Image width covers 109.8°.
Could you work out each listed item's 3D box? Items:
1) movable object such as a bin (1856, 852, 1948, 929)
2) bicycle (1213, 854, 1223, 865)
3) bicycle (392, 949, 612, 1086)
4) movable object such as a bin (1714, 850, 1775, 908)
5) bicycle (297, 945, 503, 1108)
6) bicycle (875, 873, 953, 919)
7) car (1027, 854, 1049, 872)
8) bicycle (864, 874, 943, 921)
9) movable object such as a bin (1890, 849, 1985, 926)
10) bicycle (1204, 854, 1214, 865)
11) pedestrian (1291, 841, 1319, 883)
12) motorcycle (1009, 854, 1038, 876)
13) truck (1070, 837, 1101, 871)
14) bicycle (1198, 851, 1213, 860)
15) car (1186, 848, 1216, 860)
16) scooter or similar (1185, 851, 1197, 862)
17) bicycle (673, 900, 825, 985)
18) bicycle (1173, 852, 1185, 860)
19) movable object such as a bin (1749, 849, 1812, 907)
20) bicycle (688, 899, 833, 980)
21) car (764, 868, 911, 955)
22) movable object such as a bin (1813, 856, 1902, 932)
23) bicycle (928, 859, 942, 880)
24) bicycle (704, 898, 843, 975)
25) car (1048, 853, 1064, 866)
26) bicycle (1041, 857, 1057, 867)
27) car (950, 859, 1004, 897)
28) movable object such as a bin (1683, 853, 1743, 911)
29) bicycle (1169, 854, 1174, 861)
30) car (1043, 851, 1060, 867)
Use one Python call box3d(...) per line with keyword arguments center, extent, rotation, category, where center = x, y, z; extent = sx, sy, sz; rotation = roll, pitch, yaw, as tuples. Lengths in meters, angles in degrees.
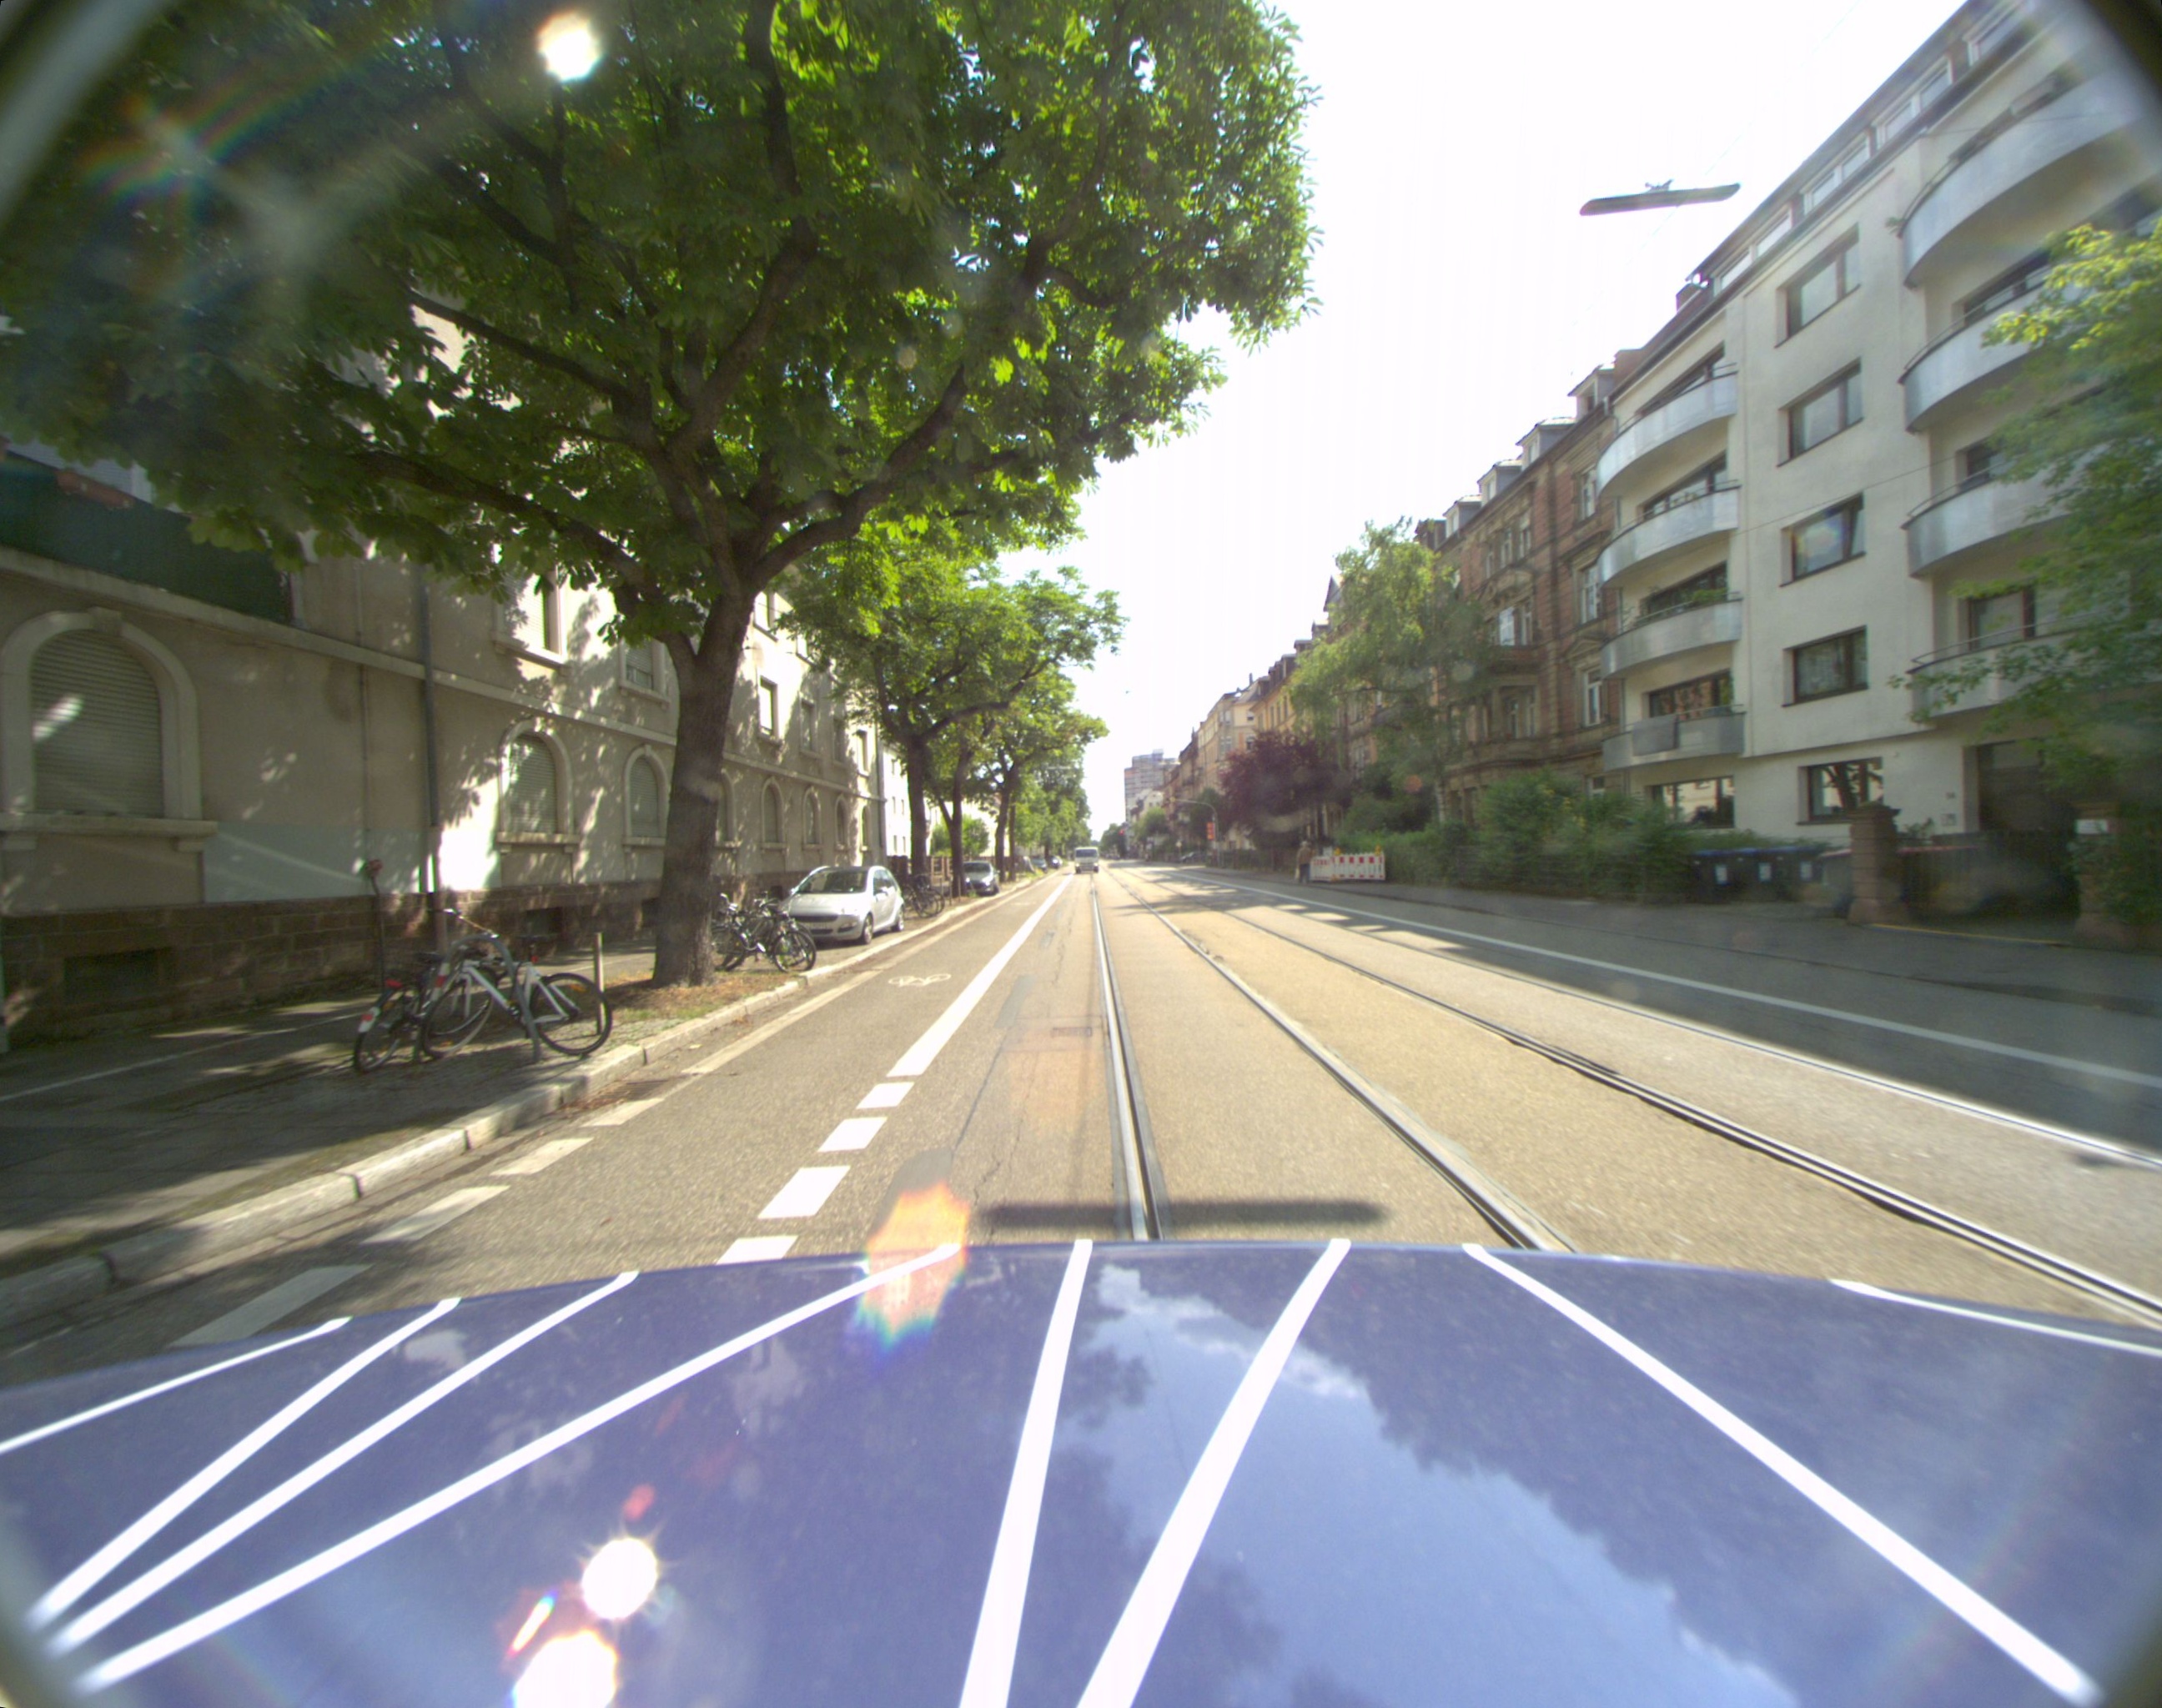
box3d(center=(12.329, 0.532, 11.433), extent=(0.550, 1.102, 0.789), rotation=(-2, 1, 5), category="movable object such as a bin")
box3d(center=(11.815, 0.452, 65.701), extent=(0.531, 0.941, 1.968), rotation=(-2, 0, 0), category="bicycle")
box3d(center=(-4.425, 1.244, 5.830), extent=(1.495, 0.978, 0.259), rotation=(-1, 1, 3), category="bicycle")
box3d(center=(13.225, 0.489, 15.157), extent=(0.539, 1.088, 0.789), rotation=(-2, 2, 1), category="movable object such as a bin")
box3d(center=(-5.364, 1.294, 6.125), extent=(0.259, 0.895, 1.771), rotation=(-2, 1, -8), category="bicycle")
box3d(center=(-4.384, 1.098, 19.996), extent=(1.940, 1.169, 0.513), rotation=(-1, 2, 12), category="bicycle")
box3d(center=(-3.947, 0.855, 70.723), extent=(1.710, 1.470, 4.196), rotation=(-4, 0, 0), category="car")
box3d(center=(-4.536, 1.113, 19.467), extent=(1.897, 1.169, 0.513), rotation=(-1, 2, 12), category="bicycle")
box3d(center=(12.905, 0.490, 11.465), extent=(0.550, 1.102, 0.789), rotation=(-2, 1, 5), category="movable object such as a bin")
box3d(center=(11.684, 0.506, 69.401), extent=(0.531, 0.941, 1.968), rotation=(-2, 0, 0), category="bicycle")
box3d(center=(9.339, 0.335, 31.731), extent=(0.825, 1.696, 0.891), rotation=(-2, 1, -2), category="pedestrian")
box3d(center=(-4.232, 0.816, 55.645), extent=(0.680, 1.588, 2.380), rotation=(-3, 1, -45), category="motorcycle")
box3d(center=(0.335, 0.025, 66.452), extent=(2.532, 2.722, 6.514), rotation=(-2, 0, -1), category="truck")
box3d(center=(15.377, 0.234, 93.718), extent=(1.759, 1.057, 0.524), rotation=(-2, 0, -5), category="bicycle")
box3d(center=(15.467, -0.038, 97.858), extent=(3.611, 1.395, 1.787), rotation=(-3, 0, 5), category="car")
box3d(center=(13.200, 0.317, 91.225), extent=(1.367, 1.228, 0.403), rotation=(-3, 1, -28), category="scooter or similar")
box3d(center=(-4.632, 1.231, 10.642), extent=(1.908, 1.066, 0.402), rotation=(-2, 1, 1), category="bicycle")
box3d(center=(12.870, 0.269, 99.715), extent=(1.456, 0.971, 0.404), rotation=(-2, 0, 0), category="bicycle")
box3d(center=(13.883, 0.467, 15.101), extent=(0.539, 1.088, 0.789), rotation=(-2, 2, 1), category="movable object such as a bin")
box3d(center=(-4.647, 1.239, 11.068), extent=(1.908, 1.066, 0.402), rotation=(-2, 1, 1), category="bicycle")
box3d(center=(-4.688, 1.041, 15.196), extent=(1.670, 1.422, 3.766), rotation=(0, 1, 1), category="car")
box3d(center=(11.736, 0.588, 11.507), extent=(0.539, 1.088, 0.789), rotation=(-2, 1, 5), category="movable object such as a bin")
box3d(center=(-8.696, 0.931, 45.307), extent=(0.413, 1.204, 1.704), rotation=(-2, 0, 1), category="bicycle")
box3d(center=(-4.663, 1.246, 11.560), extent=(1.908, 1.066, 0.402), rotation=(-2, 1, 1), category="bicycle")
box3d(center=(-3.312, 0.674, 100.654), extent=(1.867, 1.643, 4.637), rotation=(-2, 0, 0), category="car")
box3d(center=(-3.584, 0.893, 85.808), extent=(1.712, 1.001, 0.638), rotation=(-2, 1, 1), category="bicycle")
box3d(center=(-4.351, 0.964, 32.267), extent=(1.851, 1.401, 4.393), rotation=(0, 0, -2), category="car")
box3d(center=(12.560, 0.543, 15.121), extent=(0.539, 1.088, 0.789), rotation=(-2, 2, 1), category="movable object such as a bin")
box3d(center=(12.403, 0.487, 104.220), extent=(0.422, 0.971, 1.949), rotation=(-2, 0, 0), category="bicycle")
box3d(center=(-3.485, 0.586, 90.499), extent=(1.832, 1.772, 4.733), rotation=(-2, 0, 0), category="car")
